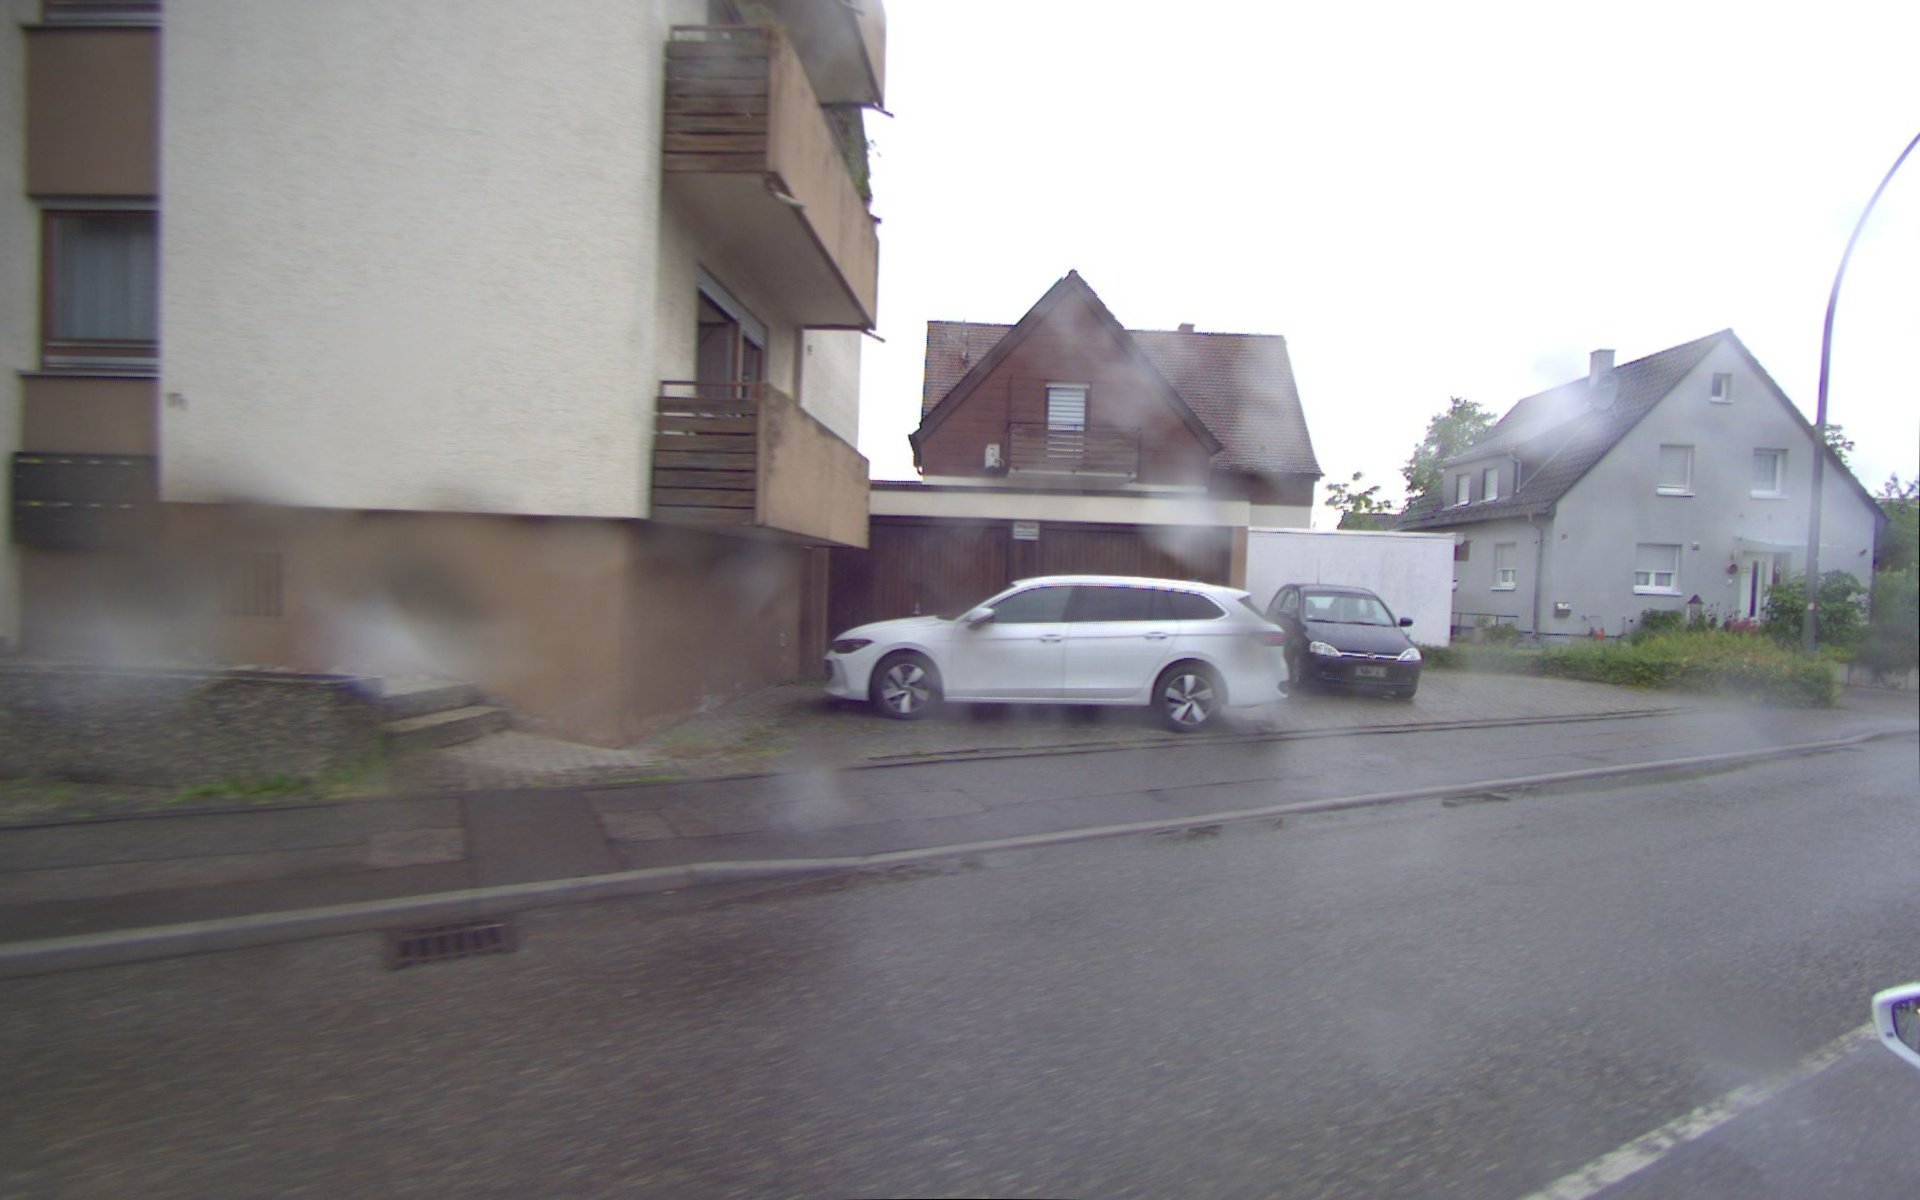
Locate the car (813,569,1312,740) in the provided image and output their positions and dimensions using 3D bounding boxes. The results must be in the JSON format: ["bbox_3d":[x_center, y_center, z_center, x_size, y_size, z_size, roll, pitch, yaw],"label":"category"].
[{"bbox_3d":[1.008,0.491,10.706,4.784,1.497,1.907,2,2,3],"label":"car"}]

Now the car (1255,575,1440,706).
[{"bbox_3d":[5.570,0.477,14.939,1.667,1.528,3.775,3,3,8],"label":"car"}]
